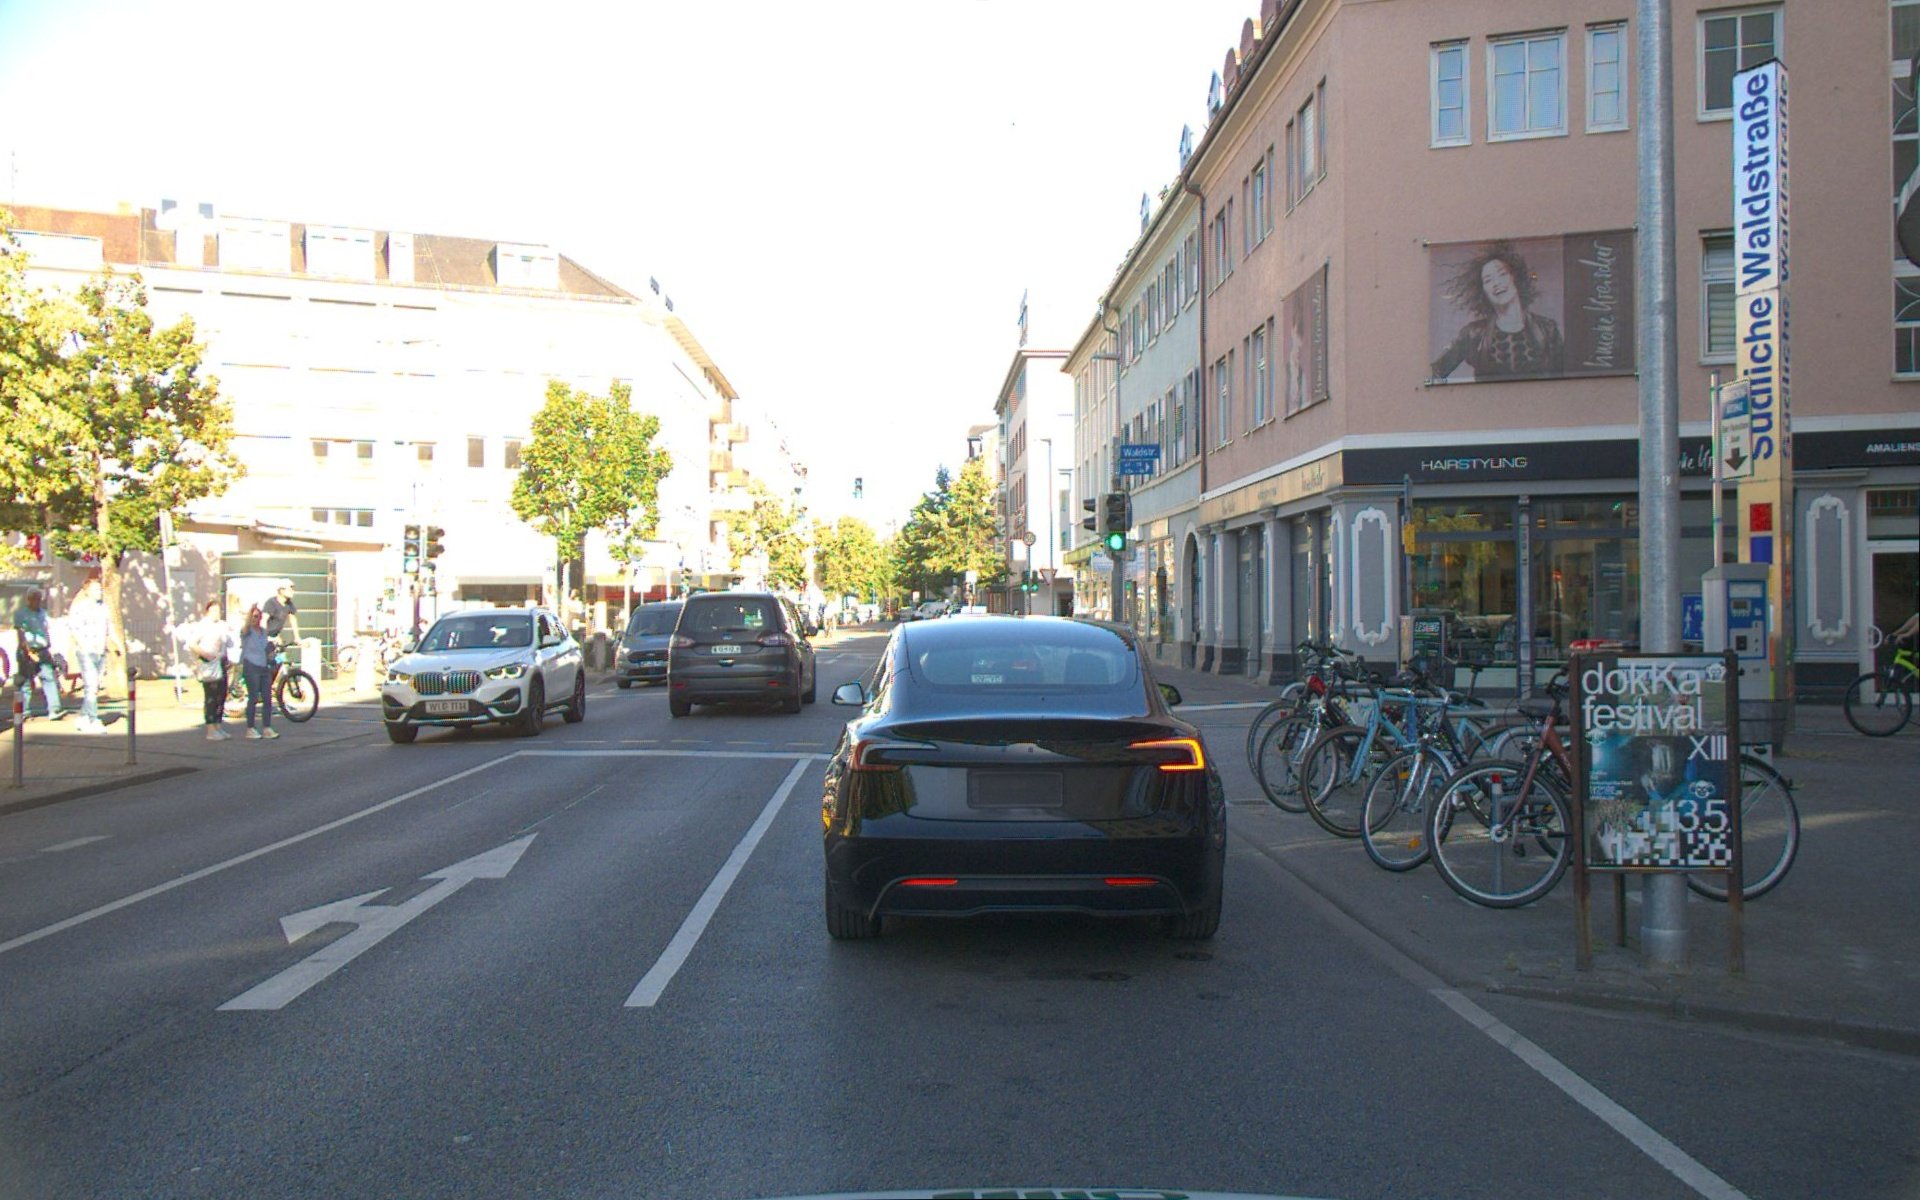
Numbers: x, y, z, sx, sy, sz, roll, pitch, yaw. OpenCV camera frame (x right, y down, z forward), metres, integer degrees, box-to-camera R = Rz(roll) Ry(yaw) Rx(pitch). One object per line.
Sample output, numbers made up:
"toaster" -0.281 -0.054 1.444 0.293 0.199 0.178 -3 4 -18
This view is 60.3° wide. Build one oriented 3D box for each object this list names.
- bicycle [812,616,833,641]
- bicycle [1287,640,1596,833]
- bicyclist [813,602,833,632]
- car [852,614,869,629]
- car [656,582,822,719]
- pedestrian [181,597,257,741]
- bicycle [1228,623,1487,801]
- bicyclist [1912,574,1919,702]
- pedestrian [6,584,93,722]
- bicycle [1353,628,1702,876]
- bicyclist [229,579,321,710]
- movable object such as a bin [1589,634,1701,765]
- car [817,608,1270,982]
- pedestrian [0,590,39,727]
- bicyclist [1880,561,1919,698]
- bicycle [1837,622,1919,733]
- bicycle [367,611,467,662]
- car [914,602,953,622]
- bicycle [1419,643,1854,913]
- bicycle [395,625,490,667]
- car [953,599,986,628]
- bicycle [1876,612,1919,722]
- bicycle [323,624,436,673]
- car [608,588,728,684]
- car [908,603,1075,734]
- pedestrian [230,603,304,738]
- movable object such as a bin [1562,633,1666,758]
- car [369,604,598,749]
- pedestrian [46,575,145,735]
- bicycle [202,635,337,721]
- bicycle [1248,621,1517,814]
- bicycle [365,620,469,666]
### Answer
"bicycle" -7.762 1.593 93.548 1.089 1.368 3.997 0 0 -4
"bicycle" 3.065 0.862 10.671 1.760 1.144 0.782 -2 -1 5
"bicyclist" -7.778 0.967 93.645 1.104 1.657 0.964 0 0 -4
"car" -11.127 2.367 185.030 1.954 1.666 3.997 0 0 -4
"car" -3.152 0.685 24.484 1.953 1.803 4.726 -1 0 -2
"pedestrian" -9.210 0.840 20.558 0.537 1.758 0.673 -1 -1 32
"bicycle" 3.059 0.853 12.880 1.822 1.280 0.833 -2 -1 5
"bicyclist" 11.480 0.438 18.864 0.926 1.475 0.806 0 -1 19
"pedestrian" -12.566 0.722 22.831 0.828 1.859 0.740 -1 -1 33
"bicycle" 3.149 0.832 9.321 1.686 1.290 0.791 -2 -1 5
"bicyclist" -10.016 0.636 24.194 0.931 1.870 0.788 1 0 24
"movable object such as a bin" 6.049 0.866 14.631 0.737 1.111 0.627 1 -1 1
"car" 0.306 0.793 8.605 1.810 1.480 3.999 0 -1 -1
"pedestrian" -12.927 0.769 22.166 0.877 1.799 0.652 0 -1 30
"bicyclist" 10.494 0.313 17.786 0.903 1.439 0.806 0 -1 18
"bicycle" 10.581 0.819 17.755 1.926 1.169 0.791 -1 -1 18
"bicycle" -14.733 0.988 44.957 2.429 1.347 0.921 0 0 -7
"car" -2.695 1.200 165.668 3.907 2.049 1.999 0 0 -2
"bicycle" 3.296 0.860 8.192 1.846 1.214 0.692 -2 0 5
"bicycle" -14.914 1.323 47.709 2.485 1.176 0.841 0 0 -6
"car" 0.549 0.805 98.972 1.953 1.657 3.999 0 0 -1
"bicycle" 11.497 0.760 18.838 1.756 1.243 0.681 0 -1 18
"bicycle" -14.208 1.187 40.500 2.455 1.176 0.842 0 0 -2
"car" -6.369 0.745 36.540 1.797 1.877 4.673 -4 0 -1
"car" 0.310 0.818 21.605 1.953 1.538 4.173 0 0 -2
"pedestrian" -8.853 0.887 21.136 0.671 1.692 0.619 -1 -1 35
"movable object such as a bin" 6.027 0.872 15.268 0.718 1.111 0.627 1 -1 1
"car" -6.074 0.900 21.593 1.771 1.582 4.308 -4 0 -2
"pedestrian" -11.024 0.684 21.100 0.811 1.989 0.710 1 0 11
"bicycle" -10.114 1.128 24.215 2.019 1.159 0.538 2 0 23
"bicycle" 2.995 0.819 11.849 1.709 1.289 0.781 -2 -1 2
"bicycle" -14.123 1.122 43.034 2.412 1.176 0.842 0 0 -2
